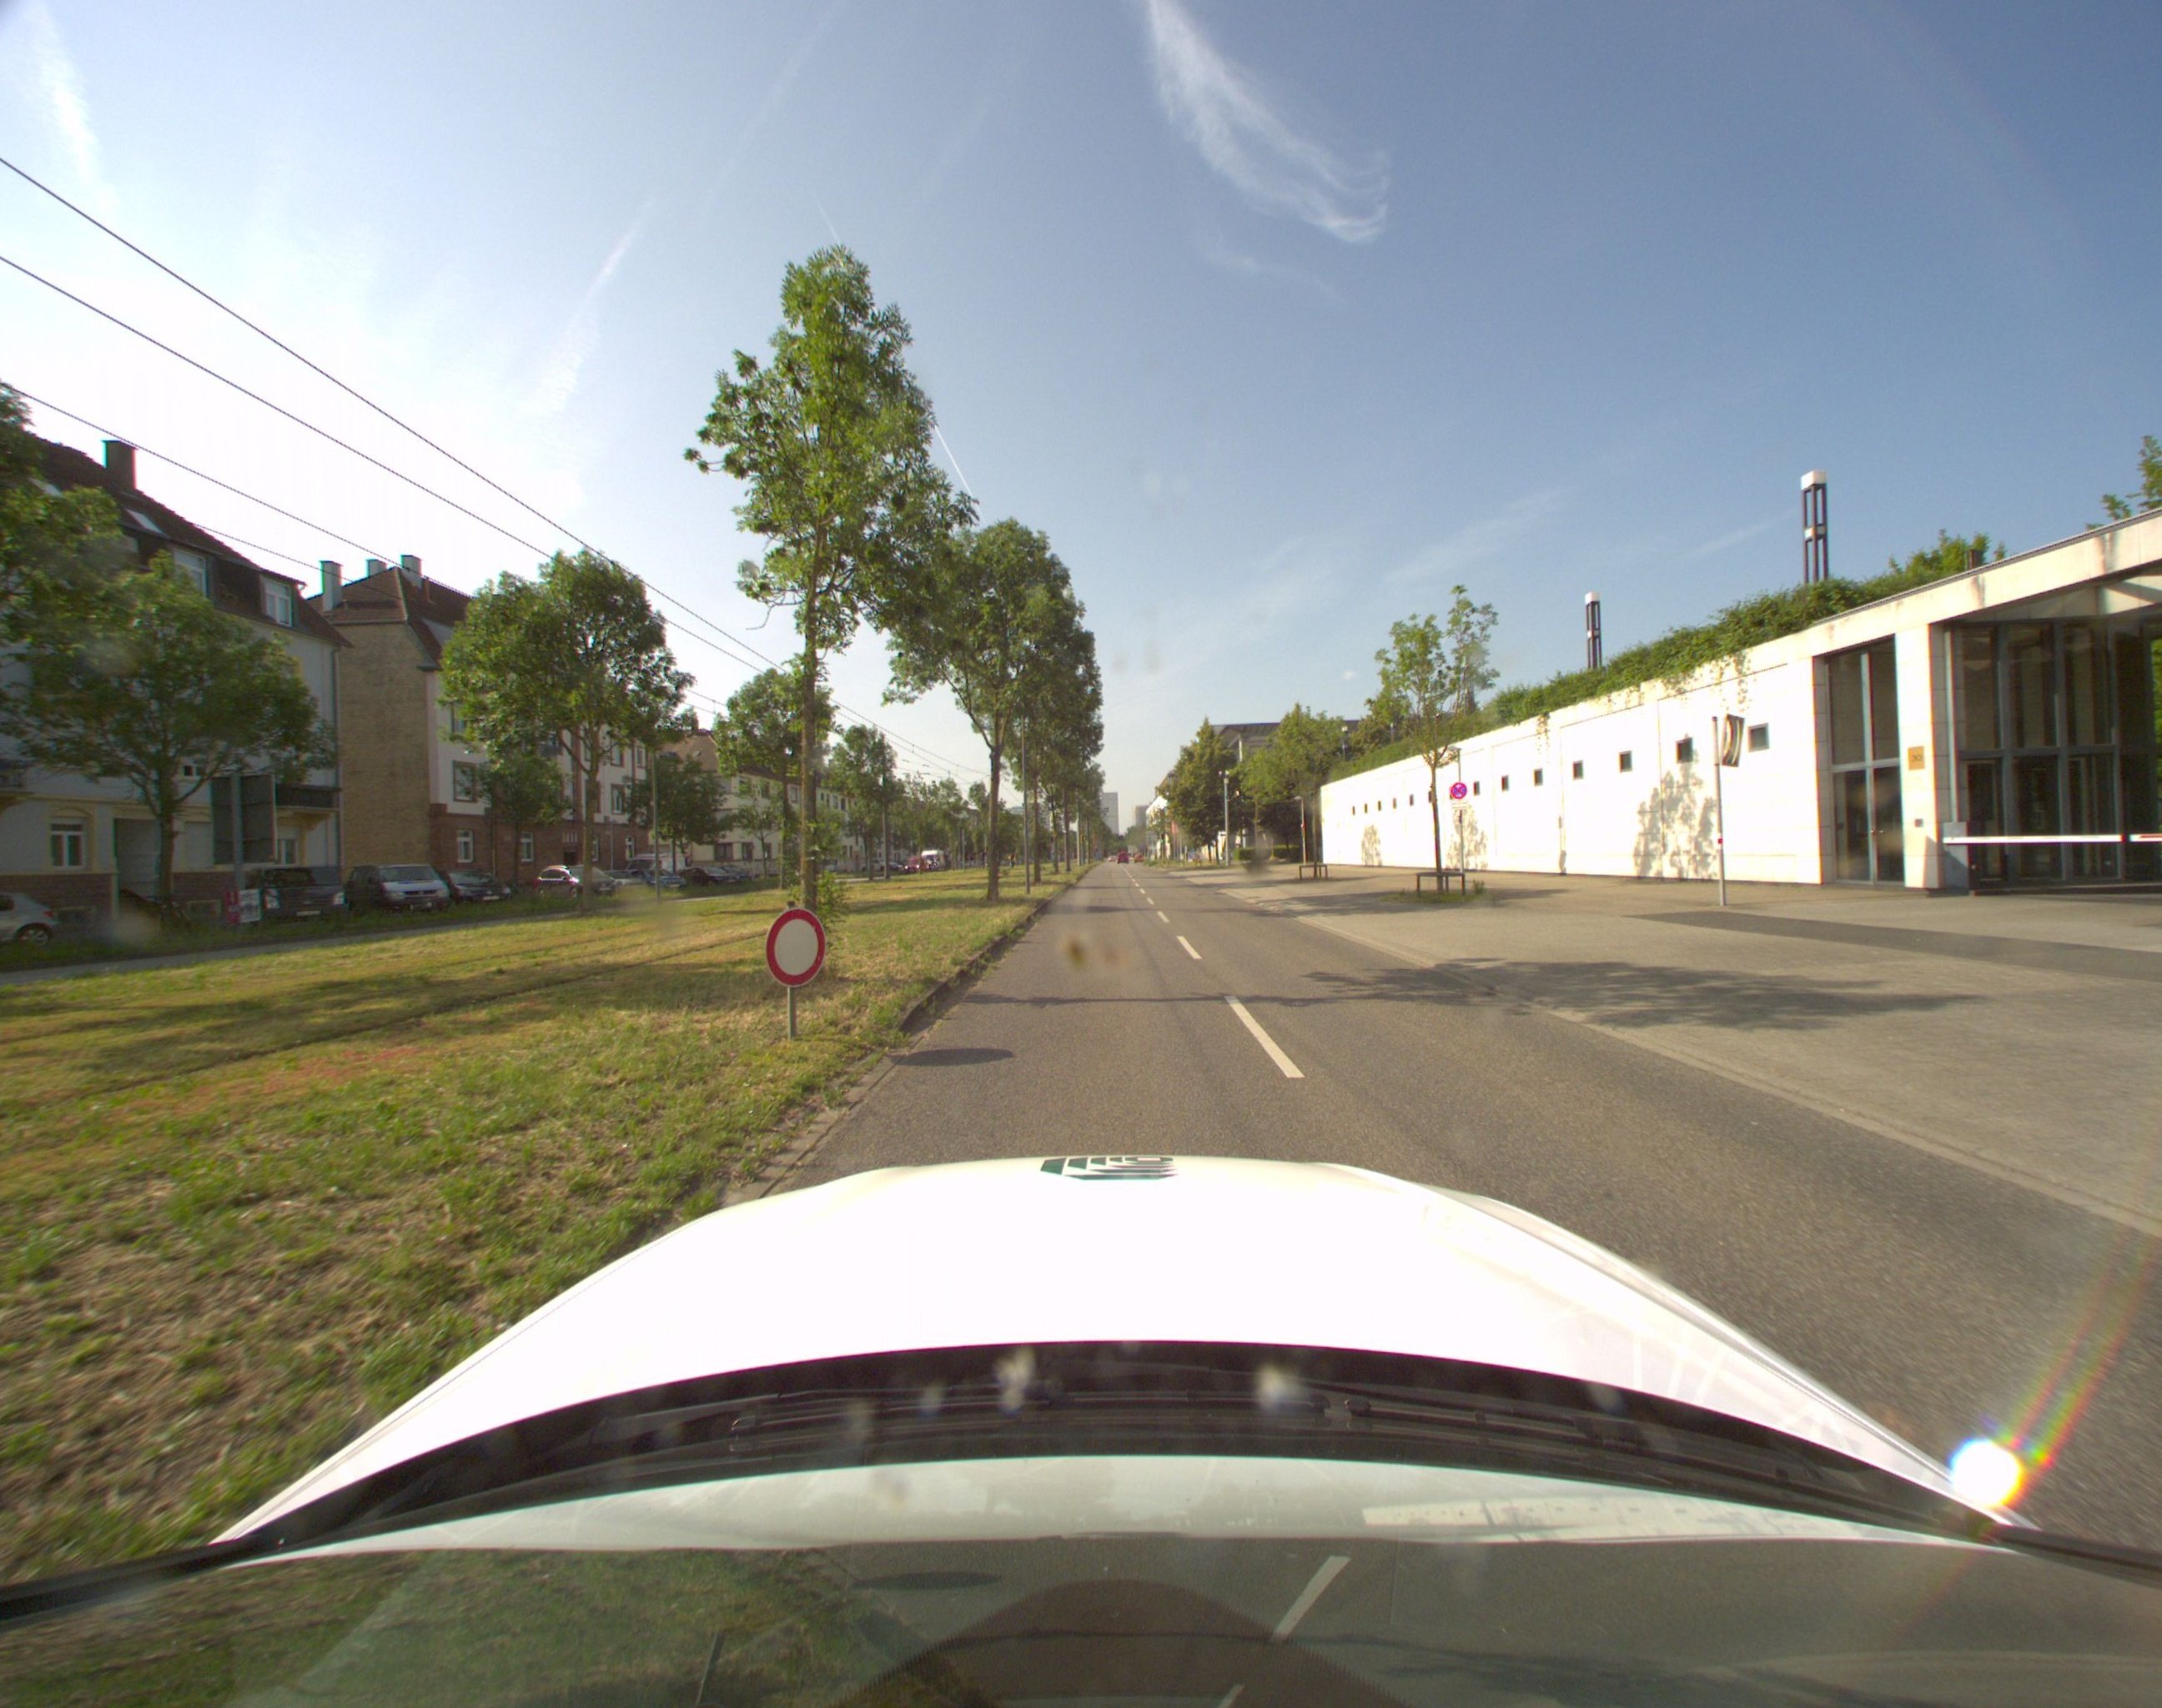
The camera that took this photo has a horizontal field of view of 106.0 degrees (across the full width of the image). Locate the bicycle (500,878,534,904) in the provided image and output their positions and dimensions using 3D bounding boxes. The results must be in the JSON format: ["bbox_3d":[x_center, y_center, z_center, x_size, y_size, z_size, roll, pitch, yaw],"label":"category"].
[{"bbox_3d":[-24.672,1.602,35.670,0.465,1.049,1.995,0,-1,-12],"label":"bicycle"}]

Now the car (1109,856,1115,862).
[{"bbox_3d":[9.038,1.481,238.444,1.741,1.650,3.218,0,-1,3],"label":"car"}]

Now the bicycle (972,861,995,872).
[{"bbox_3d":[-9.340,1.209,78.215,2.077,1.042,0.662,1,-1,-27],"label":"bicycle"}]

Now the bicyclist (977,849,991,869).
[{"bbox_3d":[-9.317,0.478,78.208,1.153,1.934,0.680,1,-1,-27],"label":"bicyclist"}]

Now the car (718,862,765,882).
[{"bbox_3d":[-23.025,1.205,55.233,3.124,1.326,1.506,0,-1,35],"label":"car"}]

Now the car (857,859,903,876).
[{"bbox_3d":[-22.377,1.473,90.400,5.258,1.738,2.013,0,-1,36],"label":"car"}]

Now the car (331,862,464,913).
[{"bbox_3d":[-24.069,1.124,28.641,5.155,1.623,2.070,0,-1,32],"label":"car"}]

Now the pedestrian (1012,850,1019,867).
[{"bbox_3d":[-6.205,0.437,77.269,0.622,1.572,0.711,0,-1,3],"label":"pedestrian"}]

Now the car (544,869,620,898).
[{"bbox_3d":[-24.138,1.386,39.332,3.948,1.269,1.649,0,-1,34],"label":"car"}]

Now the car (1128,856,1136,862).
[{"bbox_3d":[13.624,1.397,218.316,1.743,1.650,3.214,0,-1,-1],"label":"car"}]

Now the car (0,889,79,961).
[{"bbox_3d":[-26.512,1.713,18.640,1.882,1.628,4.159,0,0,3],"label":"car"}]

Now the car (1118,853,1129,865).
[{"bbox_3d":[7.368,0.881,140.891,1.741,2.014,3.218,0,-1,3],"label":"car"}]

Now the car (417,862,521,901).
[{"bbox_3d":[-23.963,1.026,31.860,4.419,1.419,1.988,0,-1,35],"label":"car"}]

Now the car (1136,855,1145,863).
[{"bbox_3d":[11.925,0.968,163.903,1.741,1.650,3.218,0,-1,3],"label":"car"}]

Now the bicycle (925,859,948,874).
[{"bbox_3d":[-13.543,1.167,76.134,2.068,1.324,0.780,0,-1,-13],"label":"bicycle"}]

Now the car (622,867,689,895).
[{"bbox_3d":[-23.270,1.457,44.462,3.948,1.417,1.587,0,-1,35],"label":"car"}]

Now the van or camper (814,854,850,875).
[{"bbox_3d":[-29.159,1.196,95.545,1.985,2.328,5.834,0,0,4],"label":"van or camper"}]

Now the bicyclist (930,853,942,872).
[{"bbox_3d":[-13.550,0.821,76.136,1.147,1.762,0.683,0,-1,-12],"label":"bicyclist"}]

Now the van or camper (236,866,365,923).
[{"bbox_3d":[-24.831,1.200,25.864,4.788,1.623,2.015,0,-1,34],"label":"van or camper"}]

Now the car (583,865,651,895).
[{"bbox_3d":[-24.051,1.321,42.197,3.948,1.417,1.587,0,-1,36],"label":"car"}]

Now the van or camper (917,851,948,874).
[{"bbox_3d":[-16.642,0.943,91.711,2.195,2.531,6.031,0,0,1],"label":"van or camper"}]

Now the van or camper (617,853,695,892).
[{"bbox_3d":[-30.035,1.276,57.833,2.031,2.567,6.358,0,0,1],"label":"van or camper"}]

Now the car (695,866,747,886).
[{"bbox_3d":[-22.679,1.370,51.288,3.124,1.161,1.506,0,-1,34],"label":"car"}]

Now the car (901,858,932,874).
[{"bbox_3d":[-17.098,1.239,84.768,1.956,1.694,4.302,0,0,5],"label":"car"}]
